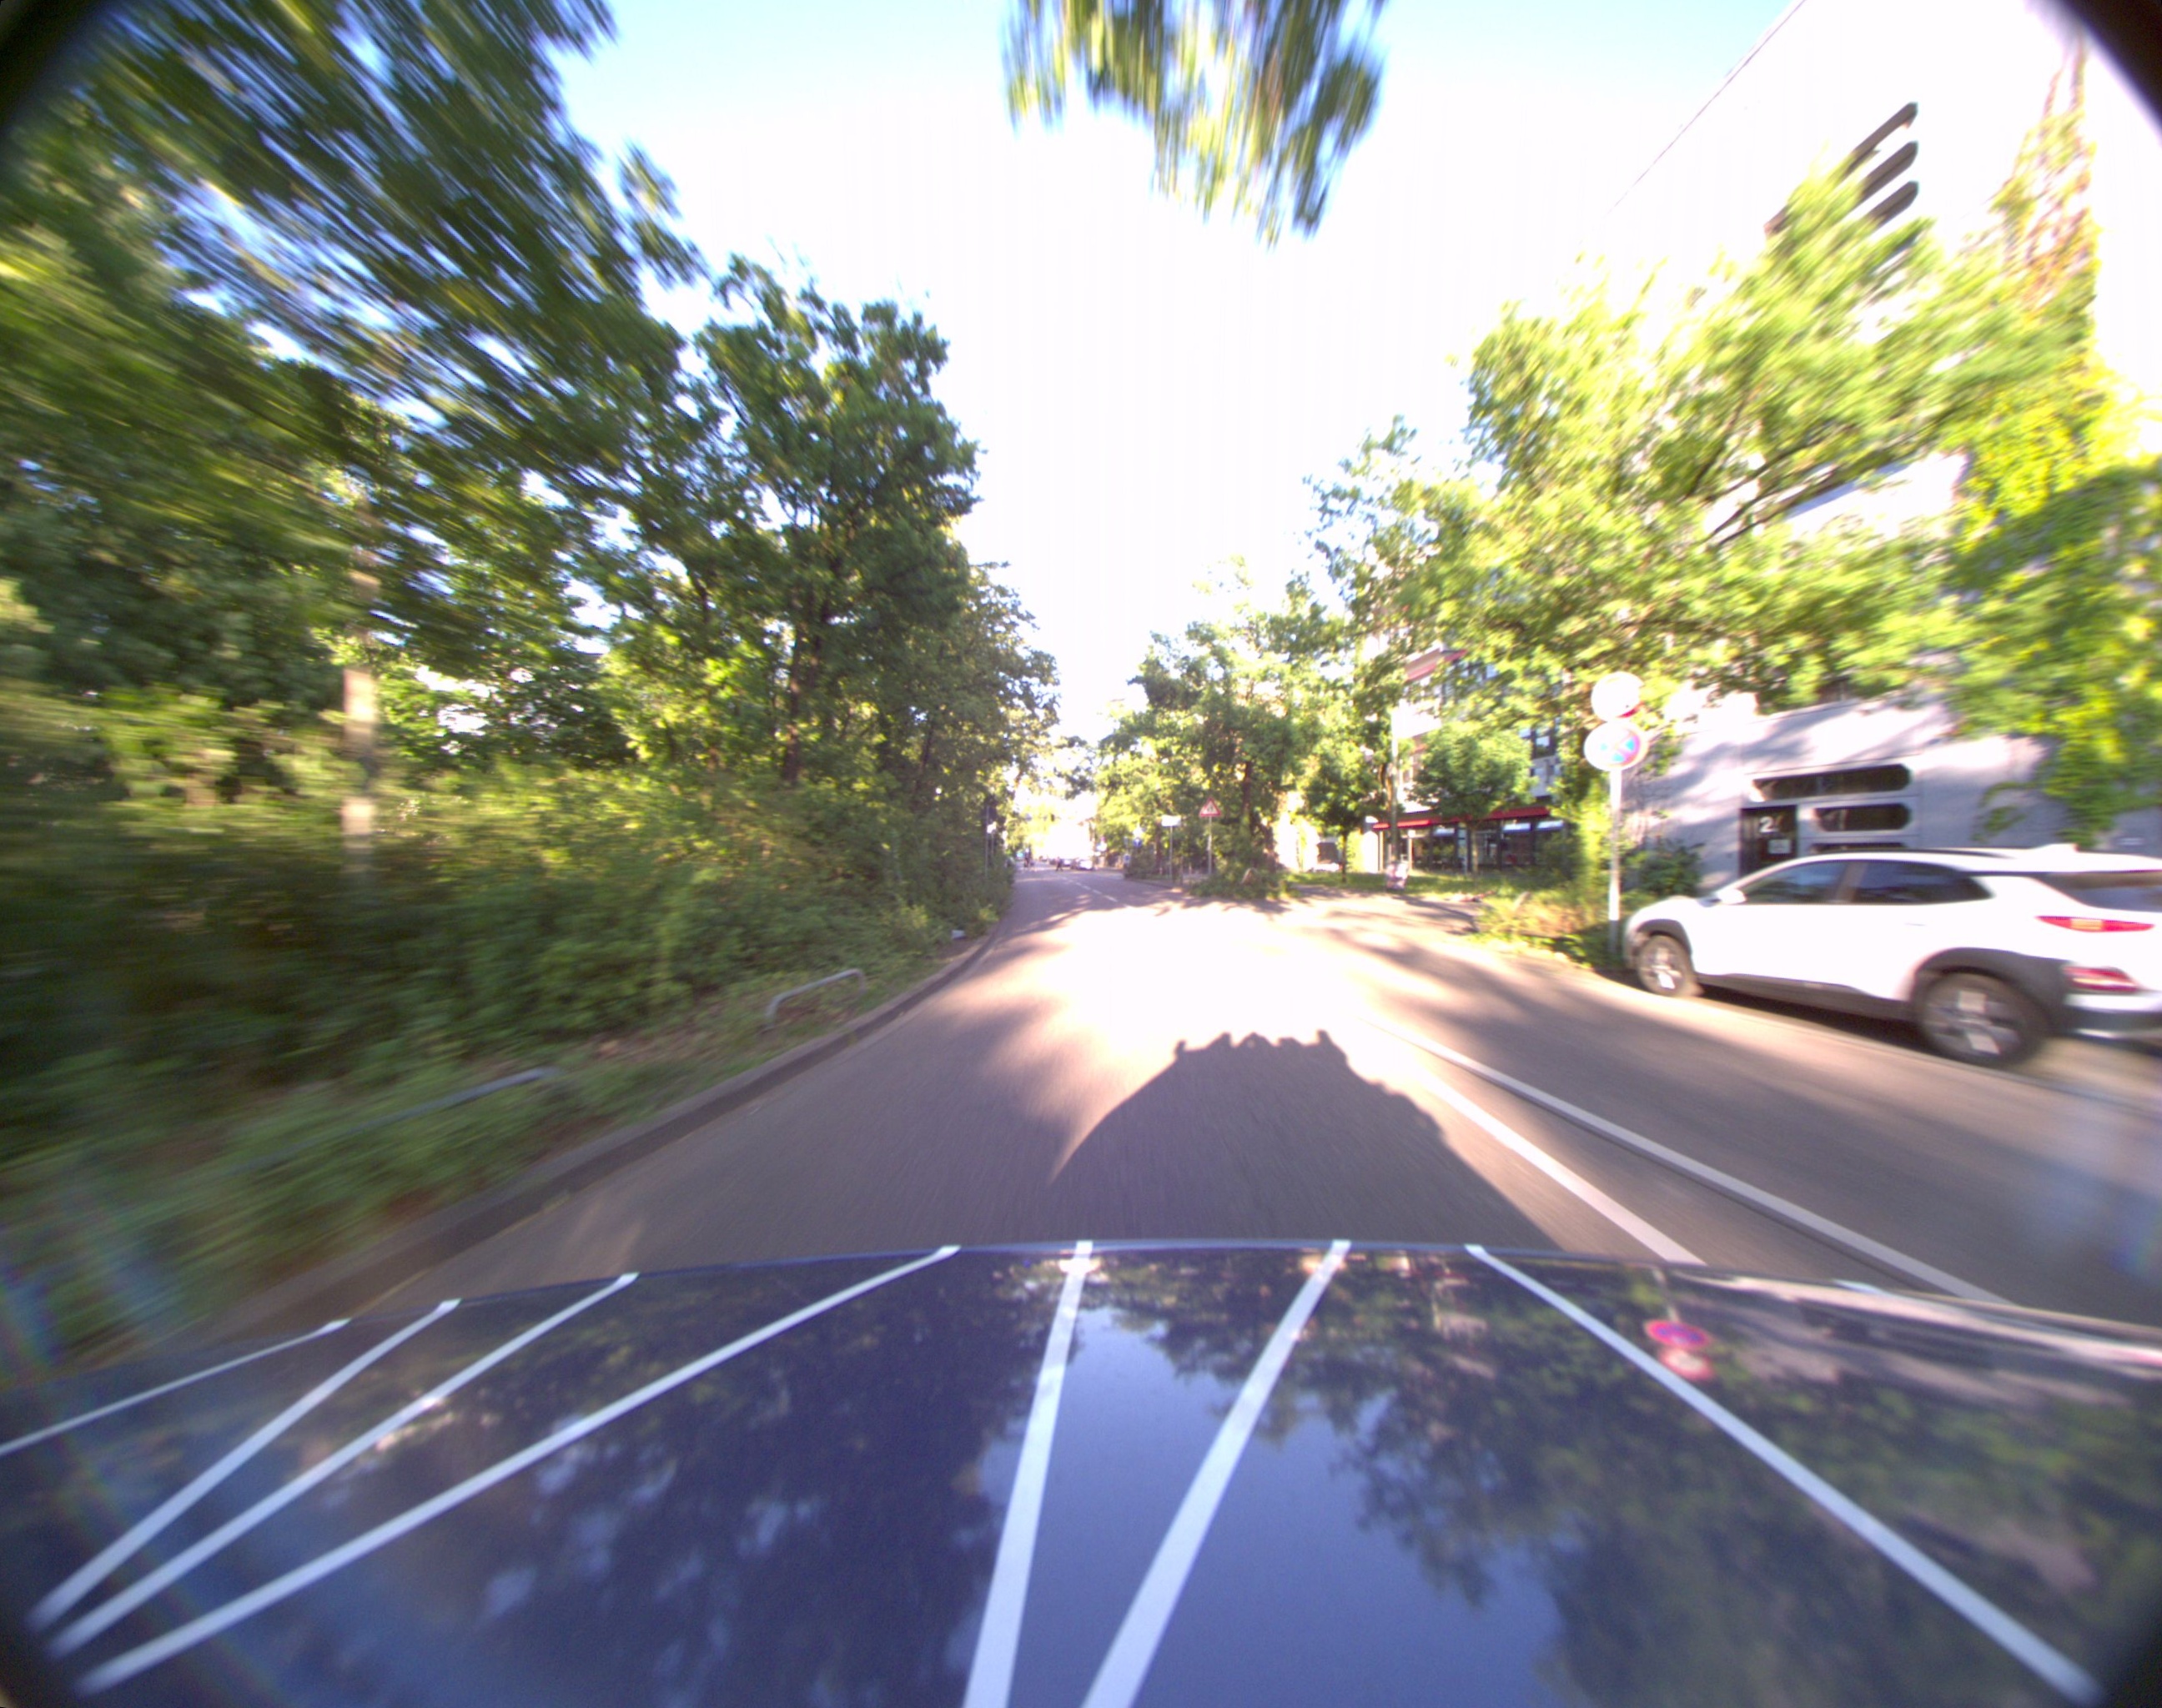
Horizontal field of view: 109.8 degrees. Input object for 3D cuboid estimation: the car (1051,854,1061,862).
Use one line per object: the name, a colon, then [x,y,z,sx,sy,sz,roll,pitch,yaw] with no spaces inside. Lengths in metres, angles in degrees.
car: [-5.013,0.759,152.799,1.777,1.559,4.107,-1,0,-5]

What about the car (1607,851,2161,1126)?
car: [7.038,0.781,6.605,1.808,1.607,4.145,0,0,-5]

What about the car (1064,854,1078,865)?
car: [-1.548,0.753,113.327,1.777,1.559,4.107,-1,0,-5]

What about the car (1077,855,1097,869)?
car: [0.661,0.824,83.516,1.777,1.474,4.107,-1,0,-5]

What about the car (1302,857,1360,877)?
car: [19.516,1.041,59.330,3.965,1.441,1.774,0,2,-16]

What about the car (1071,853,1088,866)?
car: [-0.210,0.717,95.214,1.777,1.559,4.107,-1,0,-5]

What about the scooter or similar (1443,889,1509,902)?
scooter or similar: [11.420,1.206,22.001,1.166,0.274,1.248,-1,0,-20]

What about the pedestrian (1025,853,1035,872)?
pedestrian: [-4.929,0.812,73.408,0.784,1.825,0.672,-2,0,-1]

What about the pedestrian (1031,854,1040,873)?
pedestrian: [-4.480,0.976,75.013,0.784,1.825,0.672,-2,0,-1]

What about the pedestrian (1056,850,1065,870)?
pedestrian: [-1.968,0.576,73.370,0.784,1.825,0.672,-2,0,-1]

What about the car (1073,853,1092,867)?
car: [0.163,0.735,89.738,1.777,1.559,4.107,-1,0,-5]
